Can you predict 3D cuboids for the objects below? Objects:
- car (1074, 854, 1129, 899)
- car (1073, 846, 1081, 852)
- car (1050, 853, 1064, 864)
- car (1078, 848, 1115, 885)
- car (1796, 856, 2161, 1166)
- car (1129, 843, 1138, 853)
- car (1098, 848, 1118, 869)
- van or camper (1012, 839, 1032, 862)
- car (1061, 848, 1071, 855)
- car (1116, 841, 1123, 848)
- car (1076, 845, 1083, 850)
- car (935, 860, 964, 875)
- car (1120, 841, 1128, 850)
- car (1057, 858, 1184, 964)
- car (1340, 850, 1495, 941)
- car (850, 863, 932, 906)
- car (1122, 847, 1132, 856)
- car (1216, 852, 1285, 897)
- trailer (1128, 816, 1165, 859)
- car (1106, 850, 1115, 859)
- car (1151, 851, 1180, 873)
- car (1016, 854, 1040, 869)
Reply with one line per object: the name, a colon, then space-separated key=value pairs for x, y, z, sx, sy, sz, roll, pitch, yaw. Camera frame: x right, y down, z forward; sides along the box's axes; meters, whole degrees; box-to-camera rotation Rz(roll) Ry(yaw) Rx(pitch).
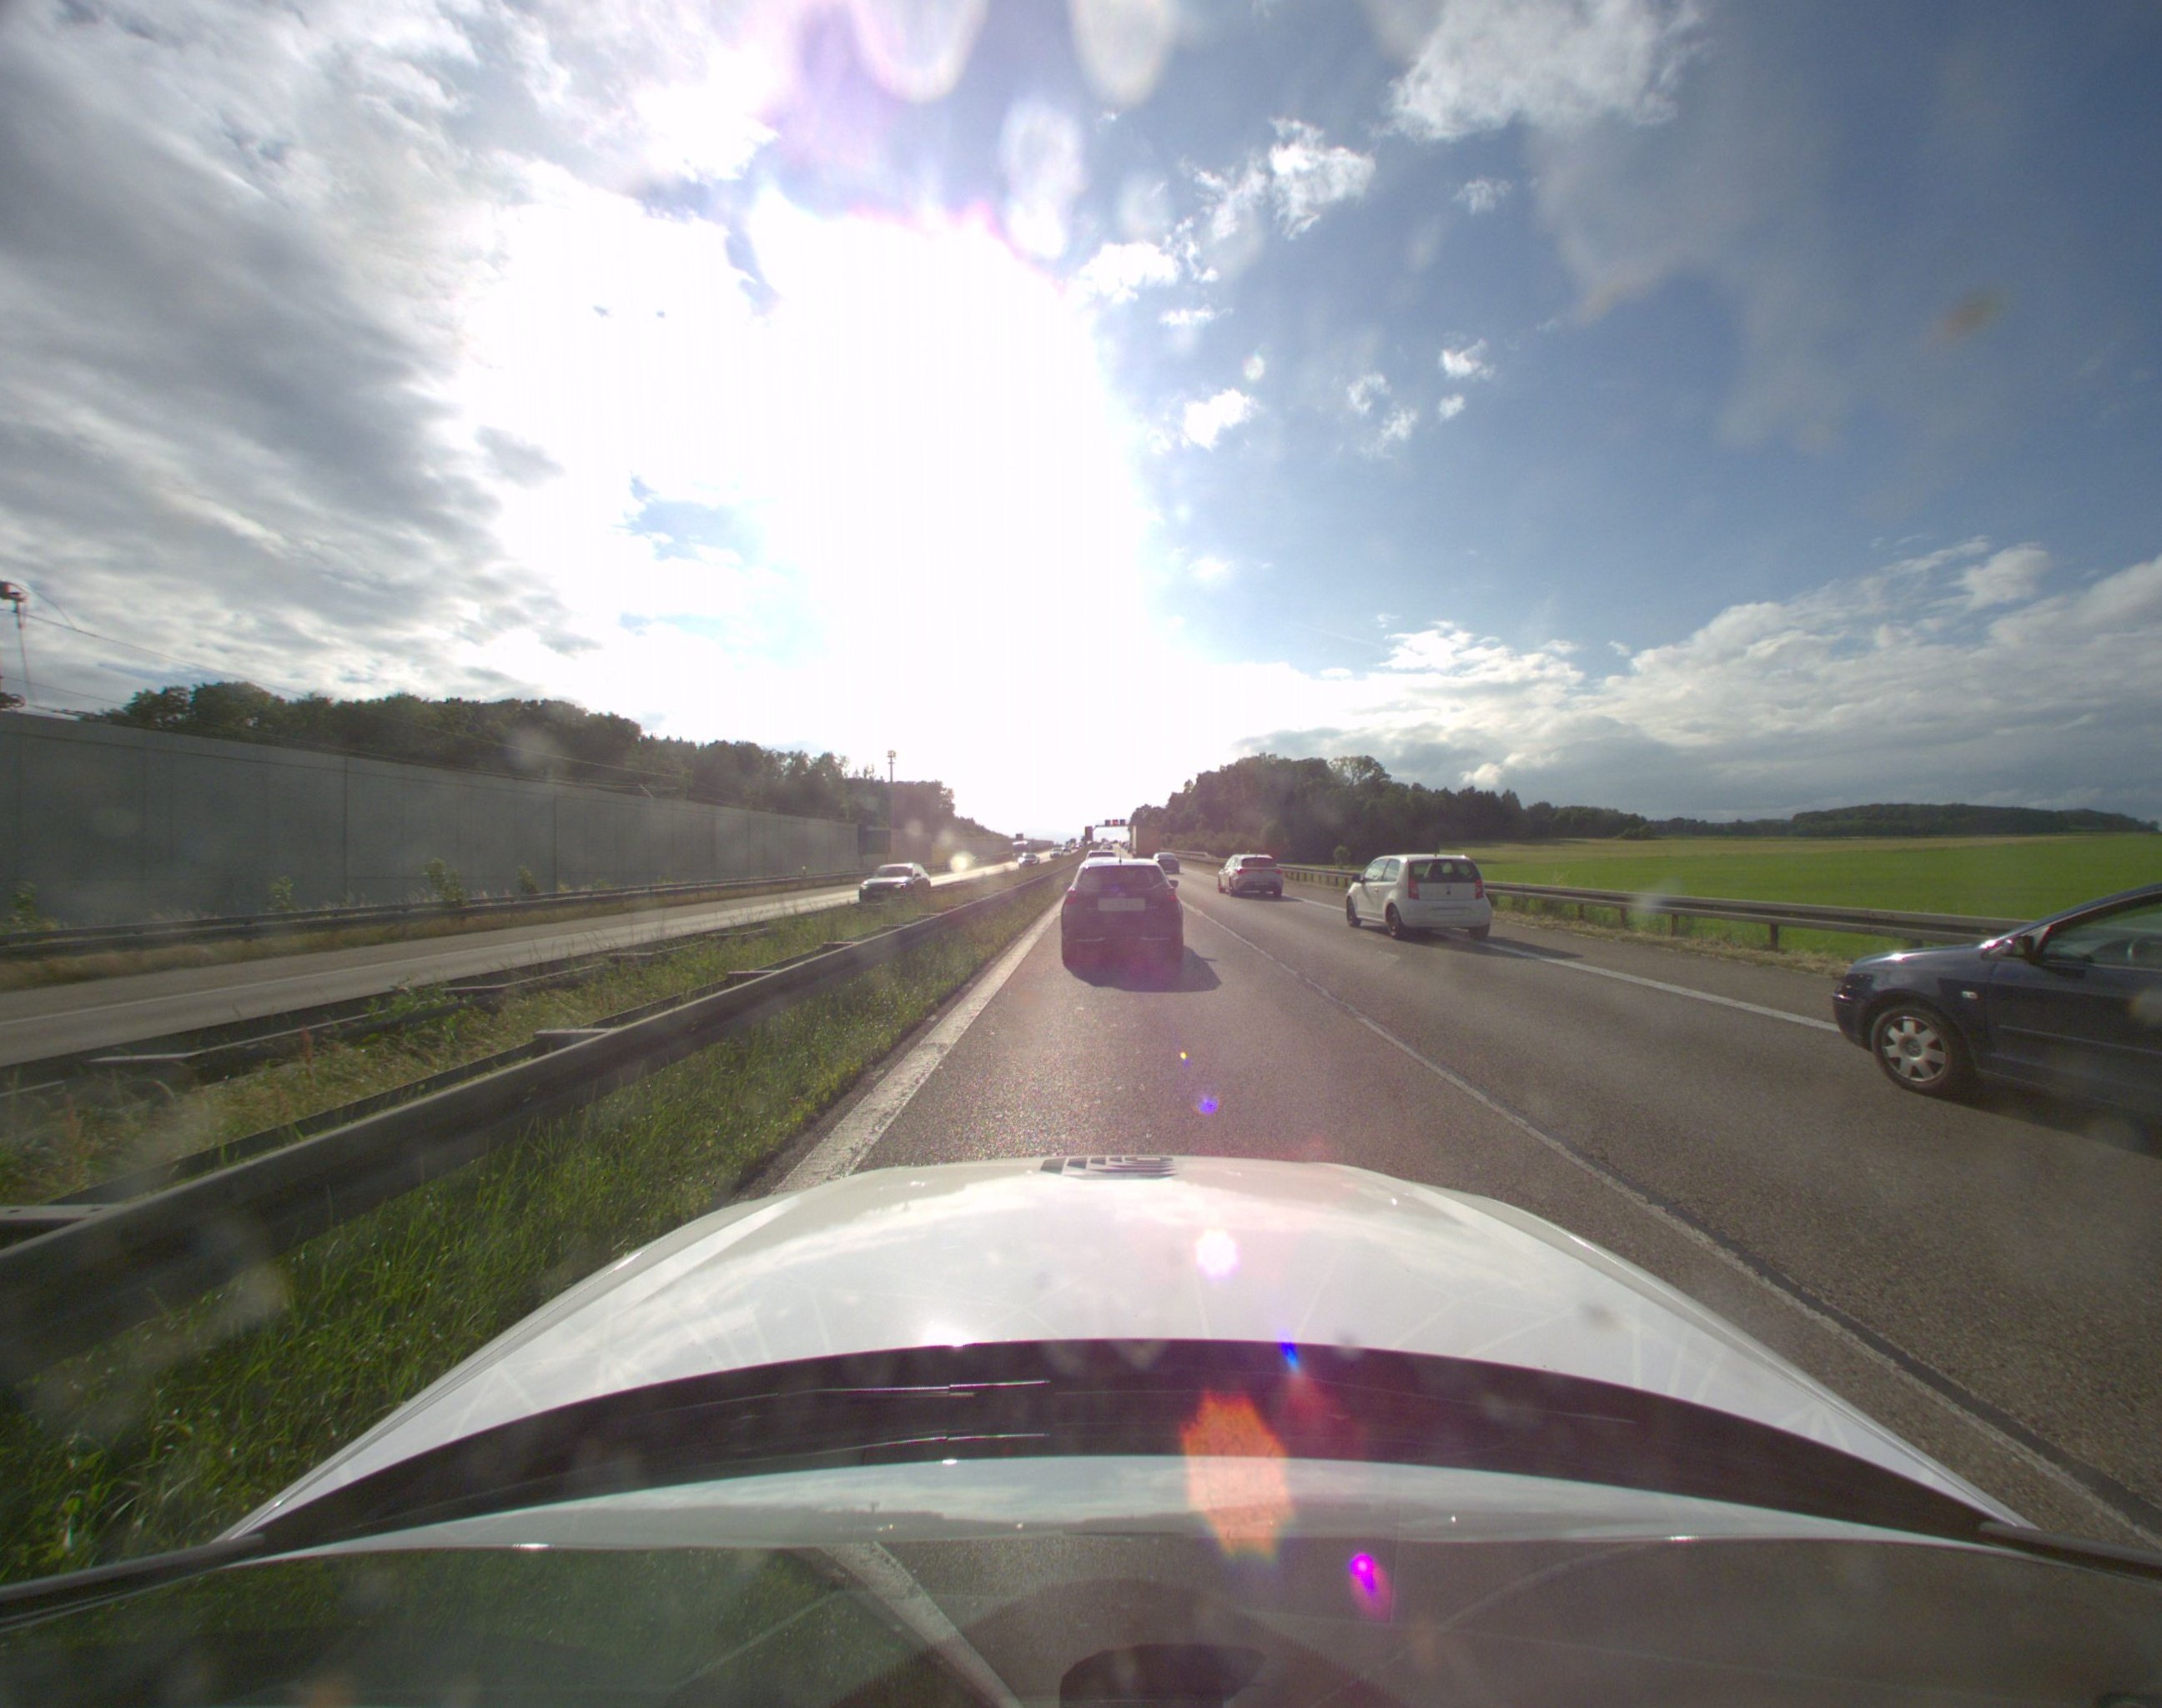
car: x=0.728 y=0.713 z=26.925 sx=1.667 sy=1.367 sz=3.599 roll=-1 pitch=-1 yaw=3
car: x=-1.060 y=-1.200 z=204.424 sx=1.986 sy=1.433 sz=4.450 roll=0 pitch=-1 yaw=1
car: x=-3.601 y=0.641 z=123.472 sx=1.986 sy=1.593 sz=4.450 roll=0 pitch=-1 yaw=1
car: x=0.802 y=0.606 z=39.647 sx=1.667 sy=1.726 sz=3.599 roll=-1 pitch=-1 yaw=3
car: x=5.885 y=0.726 z=3.874 sx=1.704 sy=1.445 sz=3.775 roll=-1 pitch=-1 yaw=1
car: x=9.182 y=-1.035 z=142.265 sx=1.660 sy=1.755 sz=3.330 roll=0 pitch=-1 yaw=3
car: x=2.782 y=0.479 z=83.682 sx=1.986 sy=2.014 sz=4.001 roll=0 pitch=-1 yaw=1
van or camper: x=-8.316 y=-0.410 z=114.783 sx=2.217 sy=3.079 sz=6.514 roll=0 pitch=-1 yaw=1
car: x=-2.992 y=-0.483 z=162.843 sx=1.847 sy=1.433 sz=4.450 roll=-1 pitch=-1 yaw=1
car: x=11.314 y=-2.696 z=241.118 sx=1.986 sy=2.014 sz=4.001 roll=0 pitch=-1 yaw=1
car: x=-0.451 y=-1.787 z=233.676 sx=1.986 sy=1.433 sz=4.450 roll=0 pitch=-1 yaw=1
car: x=-12.900 y=1.274 z=80.052 sx=1.986 sy=1.433 sz=4.450 roll=0 pitch=-1 yaw=1
car: x=10.372 y=-2.006 z=196.712 sx=1.986 sy=2.014 sz=4.001 roll=0 pitch=-1 yaw=1
car: x=0.642 y=0.798 z=12.722 sx=1.703 sy=1.426 sz=3.381 roll=-1 pitch=-1 yaw=3
car: x=6.135 y=0.681 z=15.234 sx=1.543 sy=1.495 sz=3.378 roll=-1 pitch=0 yaw=0
car: x=-6.831 y=1.061 z=29.716 sx=1.895 sy=1.464 sz=4.185 roll=0 pitch=-1 yaw=2
car: x=9.954 y=-0.539 z=175.021 sx=1.986 sy=2.014 sz=4.001 roll=0 pitch=-1 yaw=1
car: x=5.896 y=0.705 z=28.816 sx=1.615 sy=1.445 sz=4.147 roll=-1 pitch=-1 yaw=1
trailer: x=7.320 y=-1.685 z=93.071 sx=3.536 sy=4.457 sz=12.725 roll=0 pitch=-1 yaw=2
car: x=5.524 y=0.099 z=153.257 sx=1.660 sy=1.755 sz=3.330 roll=0 pitch=-1 yaw=3
car: x=5.736 y=0.552 z=55.638 sx=1.740 sy=1.475 sz=4.150 roll=-1 pitch=-1 yaw=3
car: x=-5.193 y=0.754 z=80.268 sx=1.986 sy=1.433 sz=4.450 roll=0 pitch=-1 yaw=1
